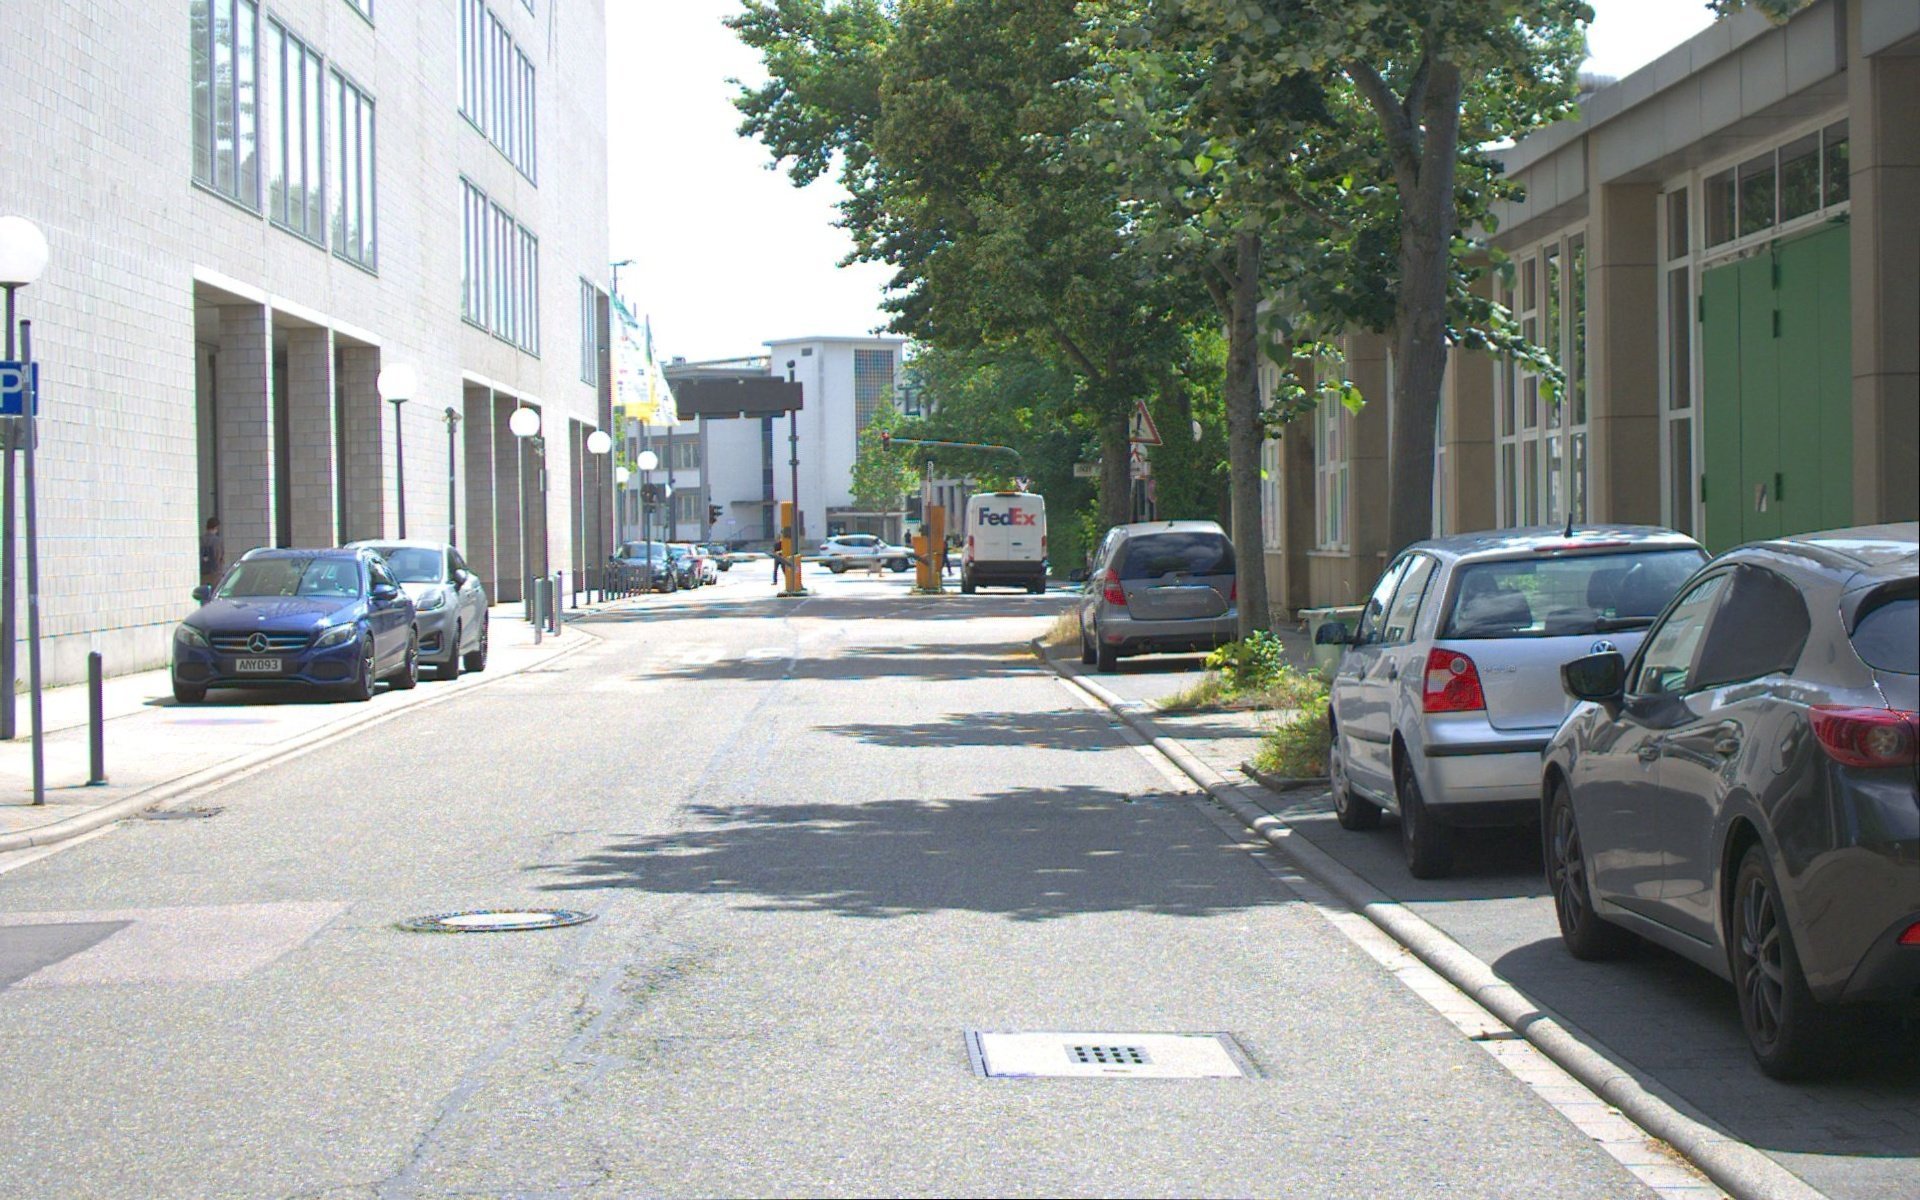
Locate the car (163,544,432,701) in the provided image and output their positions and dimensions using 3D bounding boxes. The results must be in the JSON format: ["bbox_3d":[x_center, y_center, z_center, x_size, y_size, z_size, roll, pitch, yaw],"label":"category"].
[{"bbox_3d":[-6.428,0.181,33.771,1.766,1.423,4.234,-1,1,1],"label":"car"}]

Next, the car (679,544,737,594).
[{"bbox_3d":[-8.117,-1.000,110.867,1.646,1.493,3.729,-1,-1,-1],"label":"car"}]

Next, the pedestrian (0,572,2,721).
[{"bbox_3d":[-7.799,0.109,26.621,0.649,1.695,0.889,-1,1,-11],"label":"pedestrian"}]

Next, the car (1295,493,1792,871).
[{"bbox_3d":[2.584,0.303,16.015,1.616,1.533,3.780,-1,1,-1],"label":"car"}]

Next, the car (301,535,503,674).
[{"bbox_3d":[-6.279,0.020,39.068,1.631,1.479,4.178,-1,1,-1],"label":"car"}]

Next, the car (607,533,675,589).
[{"bbox_3d":[-9.181,-1.118,99.100,1.646,1.493,3.729,-1,-1,-1],"label":"car"}]

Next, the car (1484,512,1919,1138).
[{"bbox_3d":[2.905,0.483,10.536,1.780,1.471,4.462,-2,1,-1],"label":"car"}]

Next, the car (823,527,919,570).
[{"bbox_3d":[-3.920,-2.269,151.157,3.988,1.897,1.796,0,1,8],"label":"car"}]

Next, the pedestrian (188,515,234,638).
[{"bbox_3d":[-11.235,-0.347,51.575,0.511,1.834,0.735,-1,-1,-2],"label":"pedestrian"}]

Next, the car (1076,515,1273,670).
[{"bbox_3d":[2.344,-0.114,38.425,1.858,1.568,4.000,-2,1,0],"label":"car"}]

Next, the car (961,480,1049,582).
[{"bbox_3d":[1.118,-1.765,87.493,2.083,2.531,4.316,0,1,-1],"label":"car"}]
